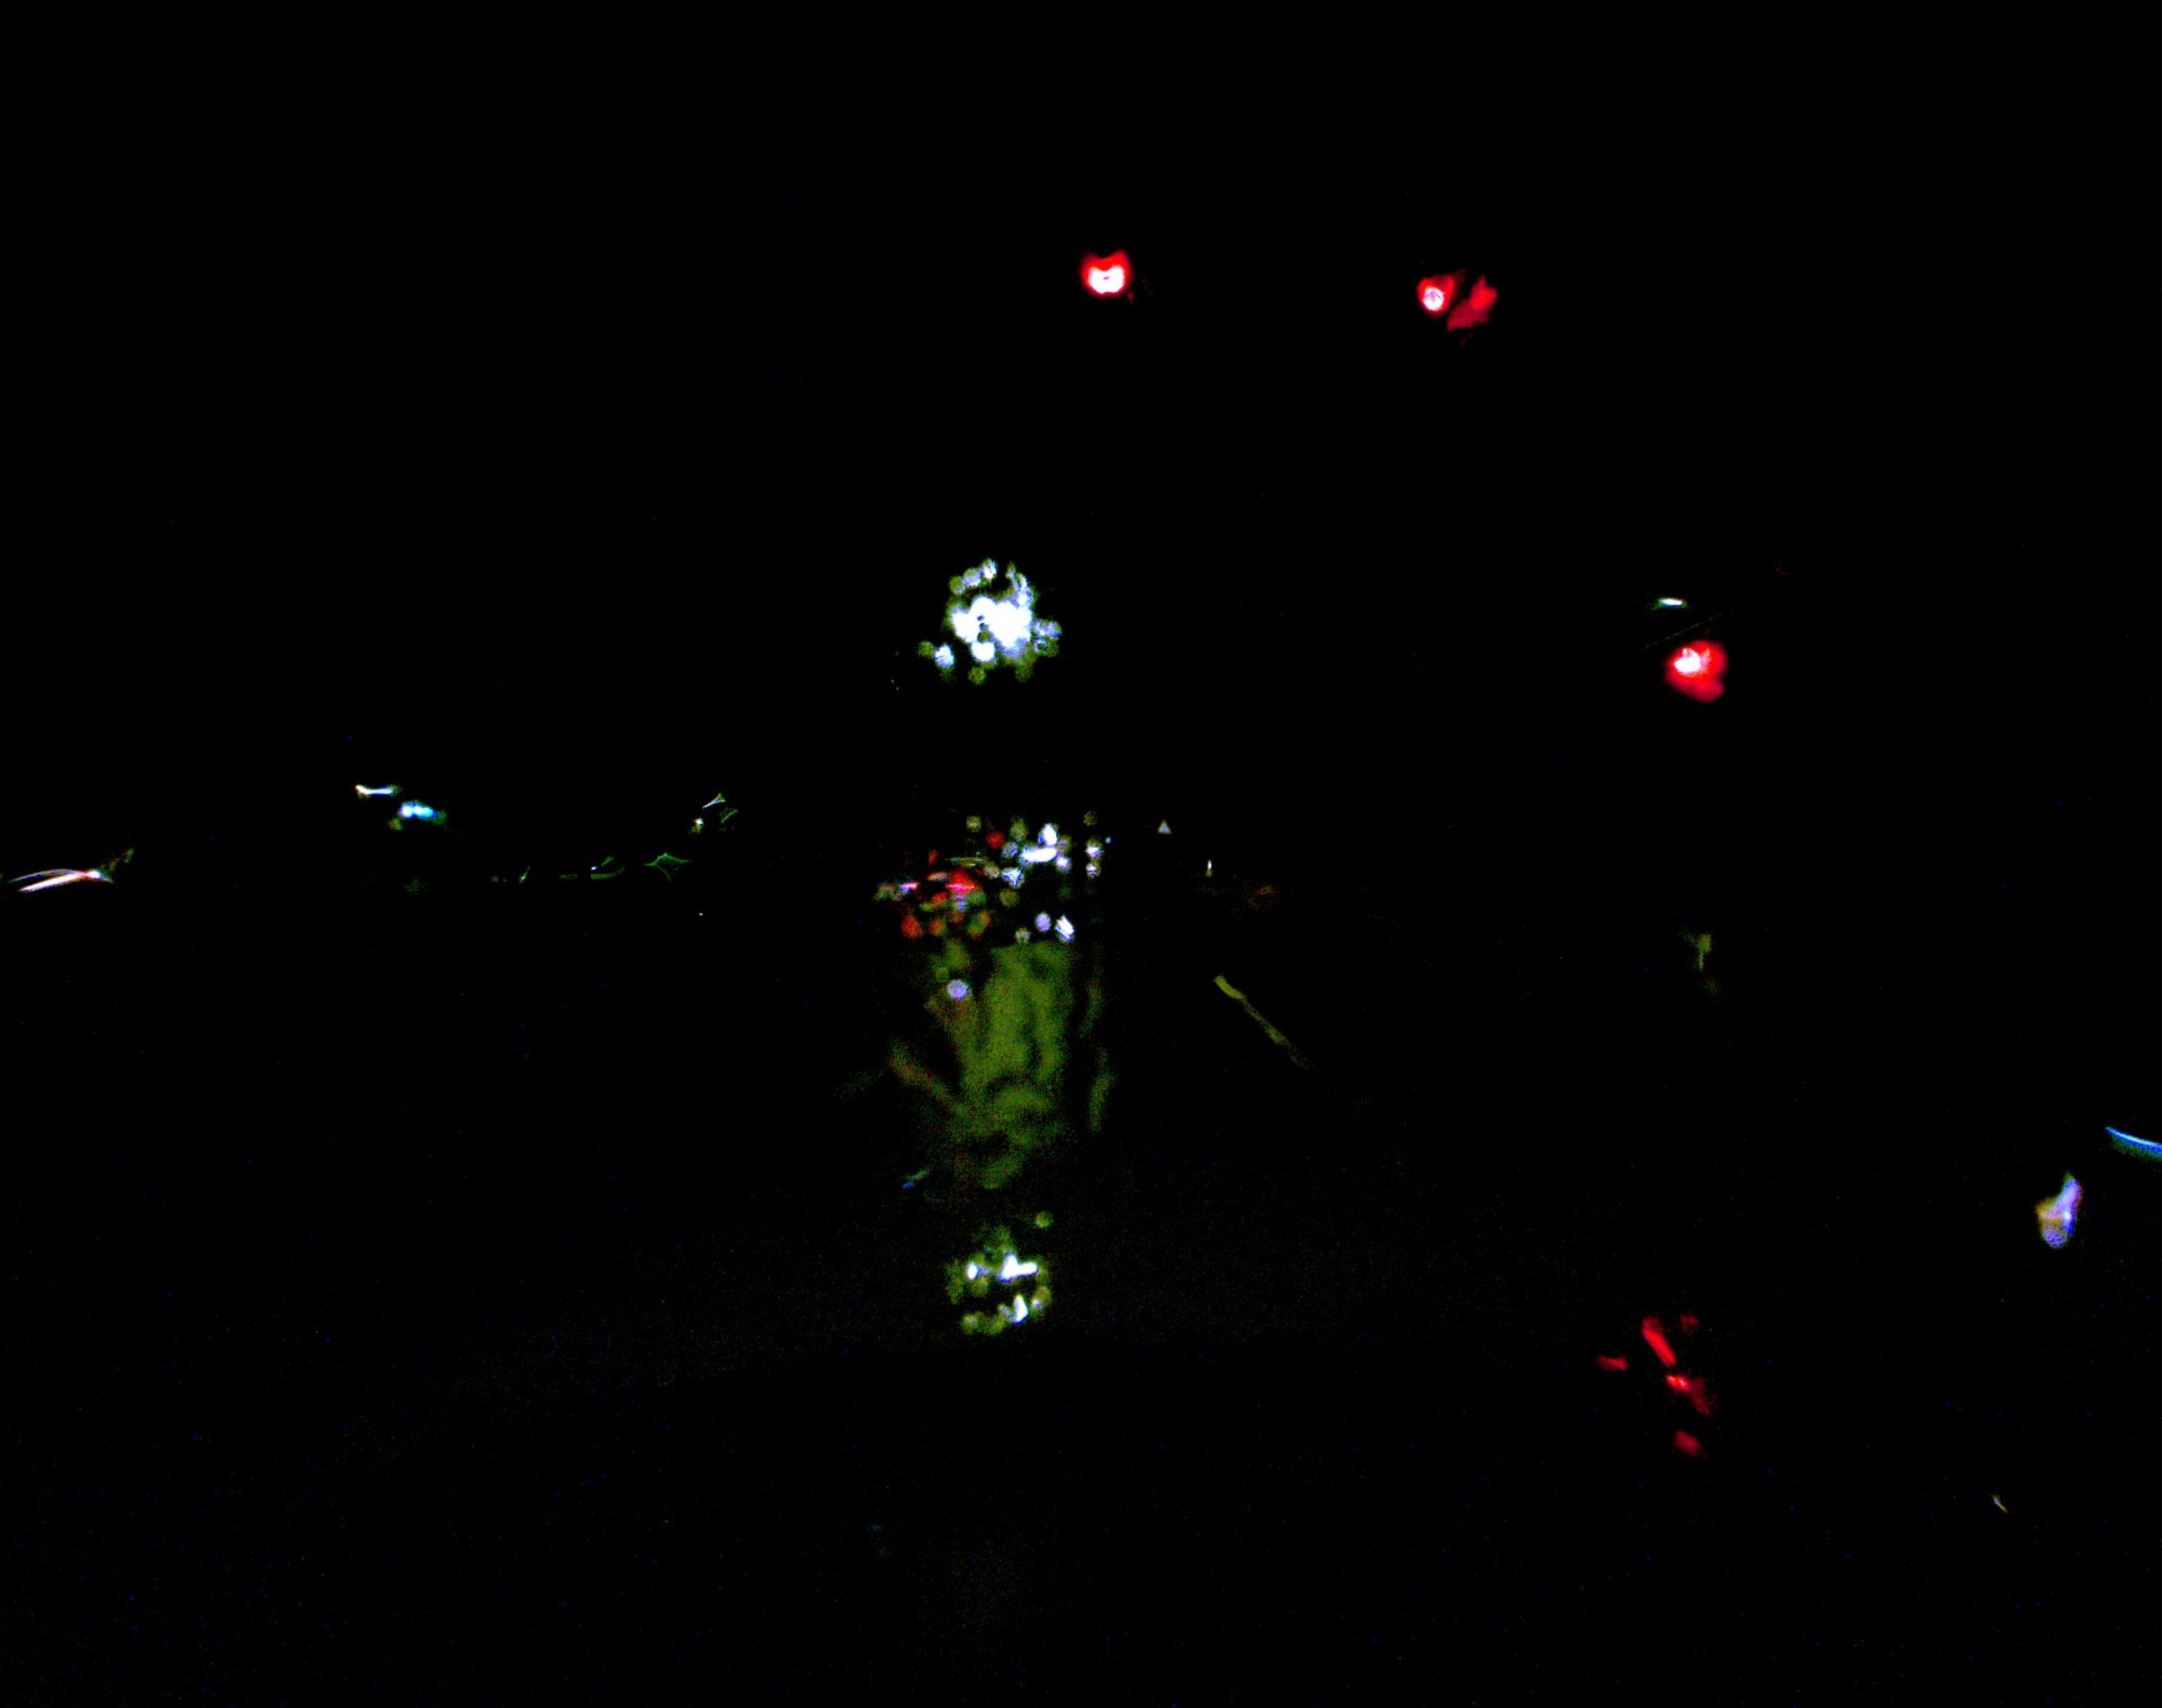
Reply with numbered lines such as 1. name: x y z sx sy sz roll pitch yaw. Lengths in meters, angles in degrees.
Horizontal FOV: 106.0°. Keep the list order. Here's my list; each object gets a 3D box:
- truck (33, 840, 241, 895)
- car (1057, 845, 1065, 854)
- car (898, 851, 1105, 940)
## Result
1. truck: -41.844 0.568 36.431 1.985 2.271 6.027 0 0 4
2. car: -4.777 -1.131 196.313 1.786 2.022 4.579 -1 0 0
3. car: -1.426 0.716 16.287 1.496 1.518 4.402 0 0 38
